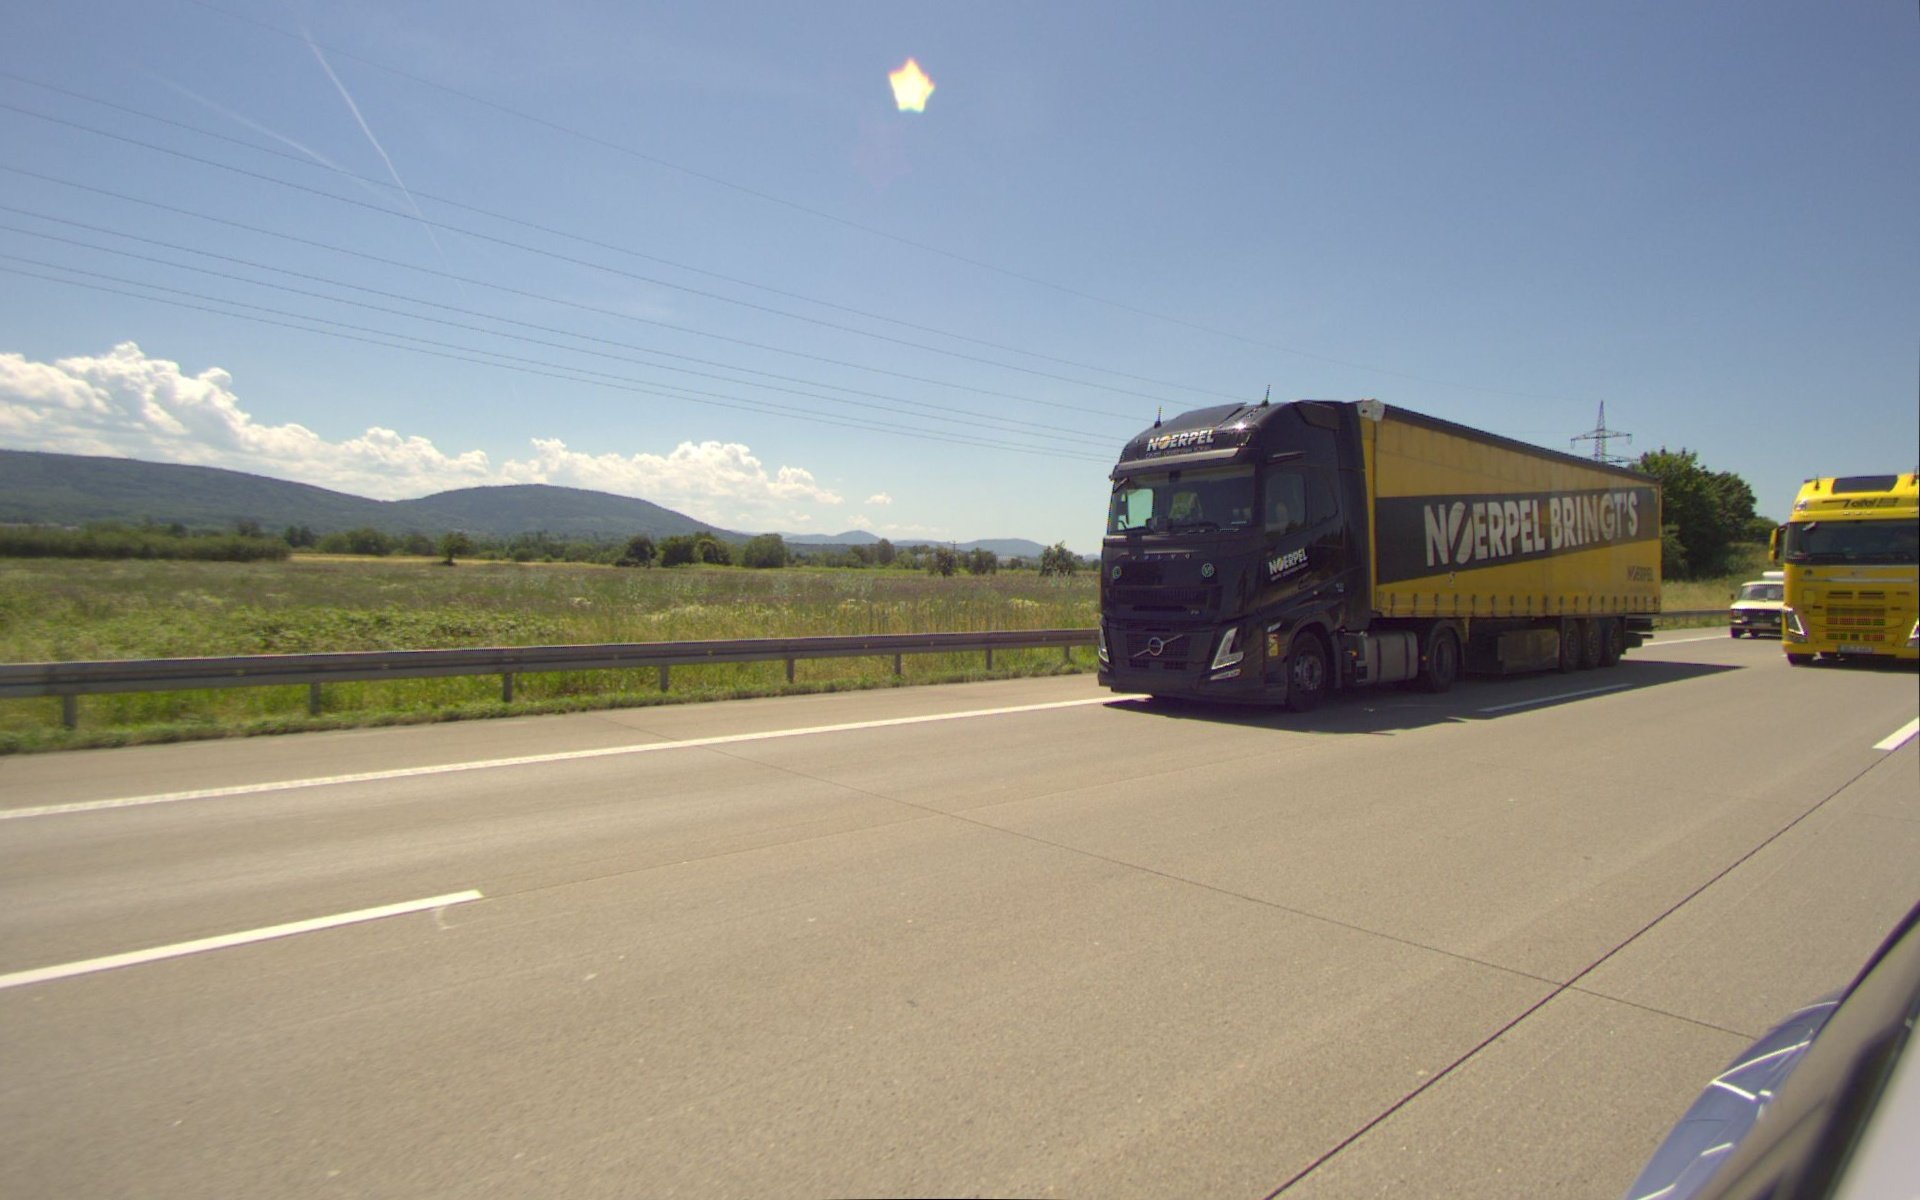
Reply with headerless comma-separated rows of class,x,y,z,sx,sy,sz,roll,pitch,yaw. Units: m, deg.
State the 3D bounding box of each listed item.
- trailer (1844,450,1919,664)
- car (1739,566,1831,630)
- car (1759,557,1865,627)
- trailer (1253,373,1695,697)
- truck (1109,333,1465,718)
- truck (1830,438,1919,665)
trailer,24.784,-0.942,25.405,14.937,4.308,1.996,-1,0,-42
car,27.797,-0.082,34.072,3.753,2.039,1.787,-1,0,-41
car,31.273,-0.309,37.092,5.419,2.377,2.138,-1,0,-41
trailer,10.390,-0.930,18.751,14.488,4.246,1.997,-1,0,-41
truck,4.631,-0.854,13.753,5.606,4.246,1.997,-1,0,-41
truck,19.902,-0.945,21.095,5.105,4.308,1.997,-1,0,-41
